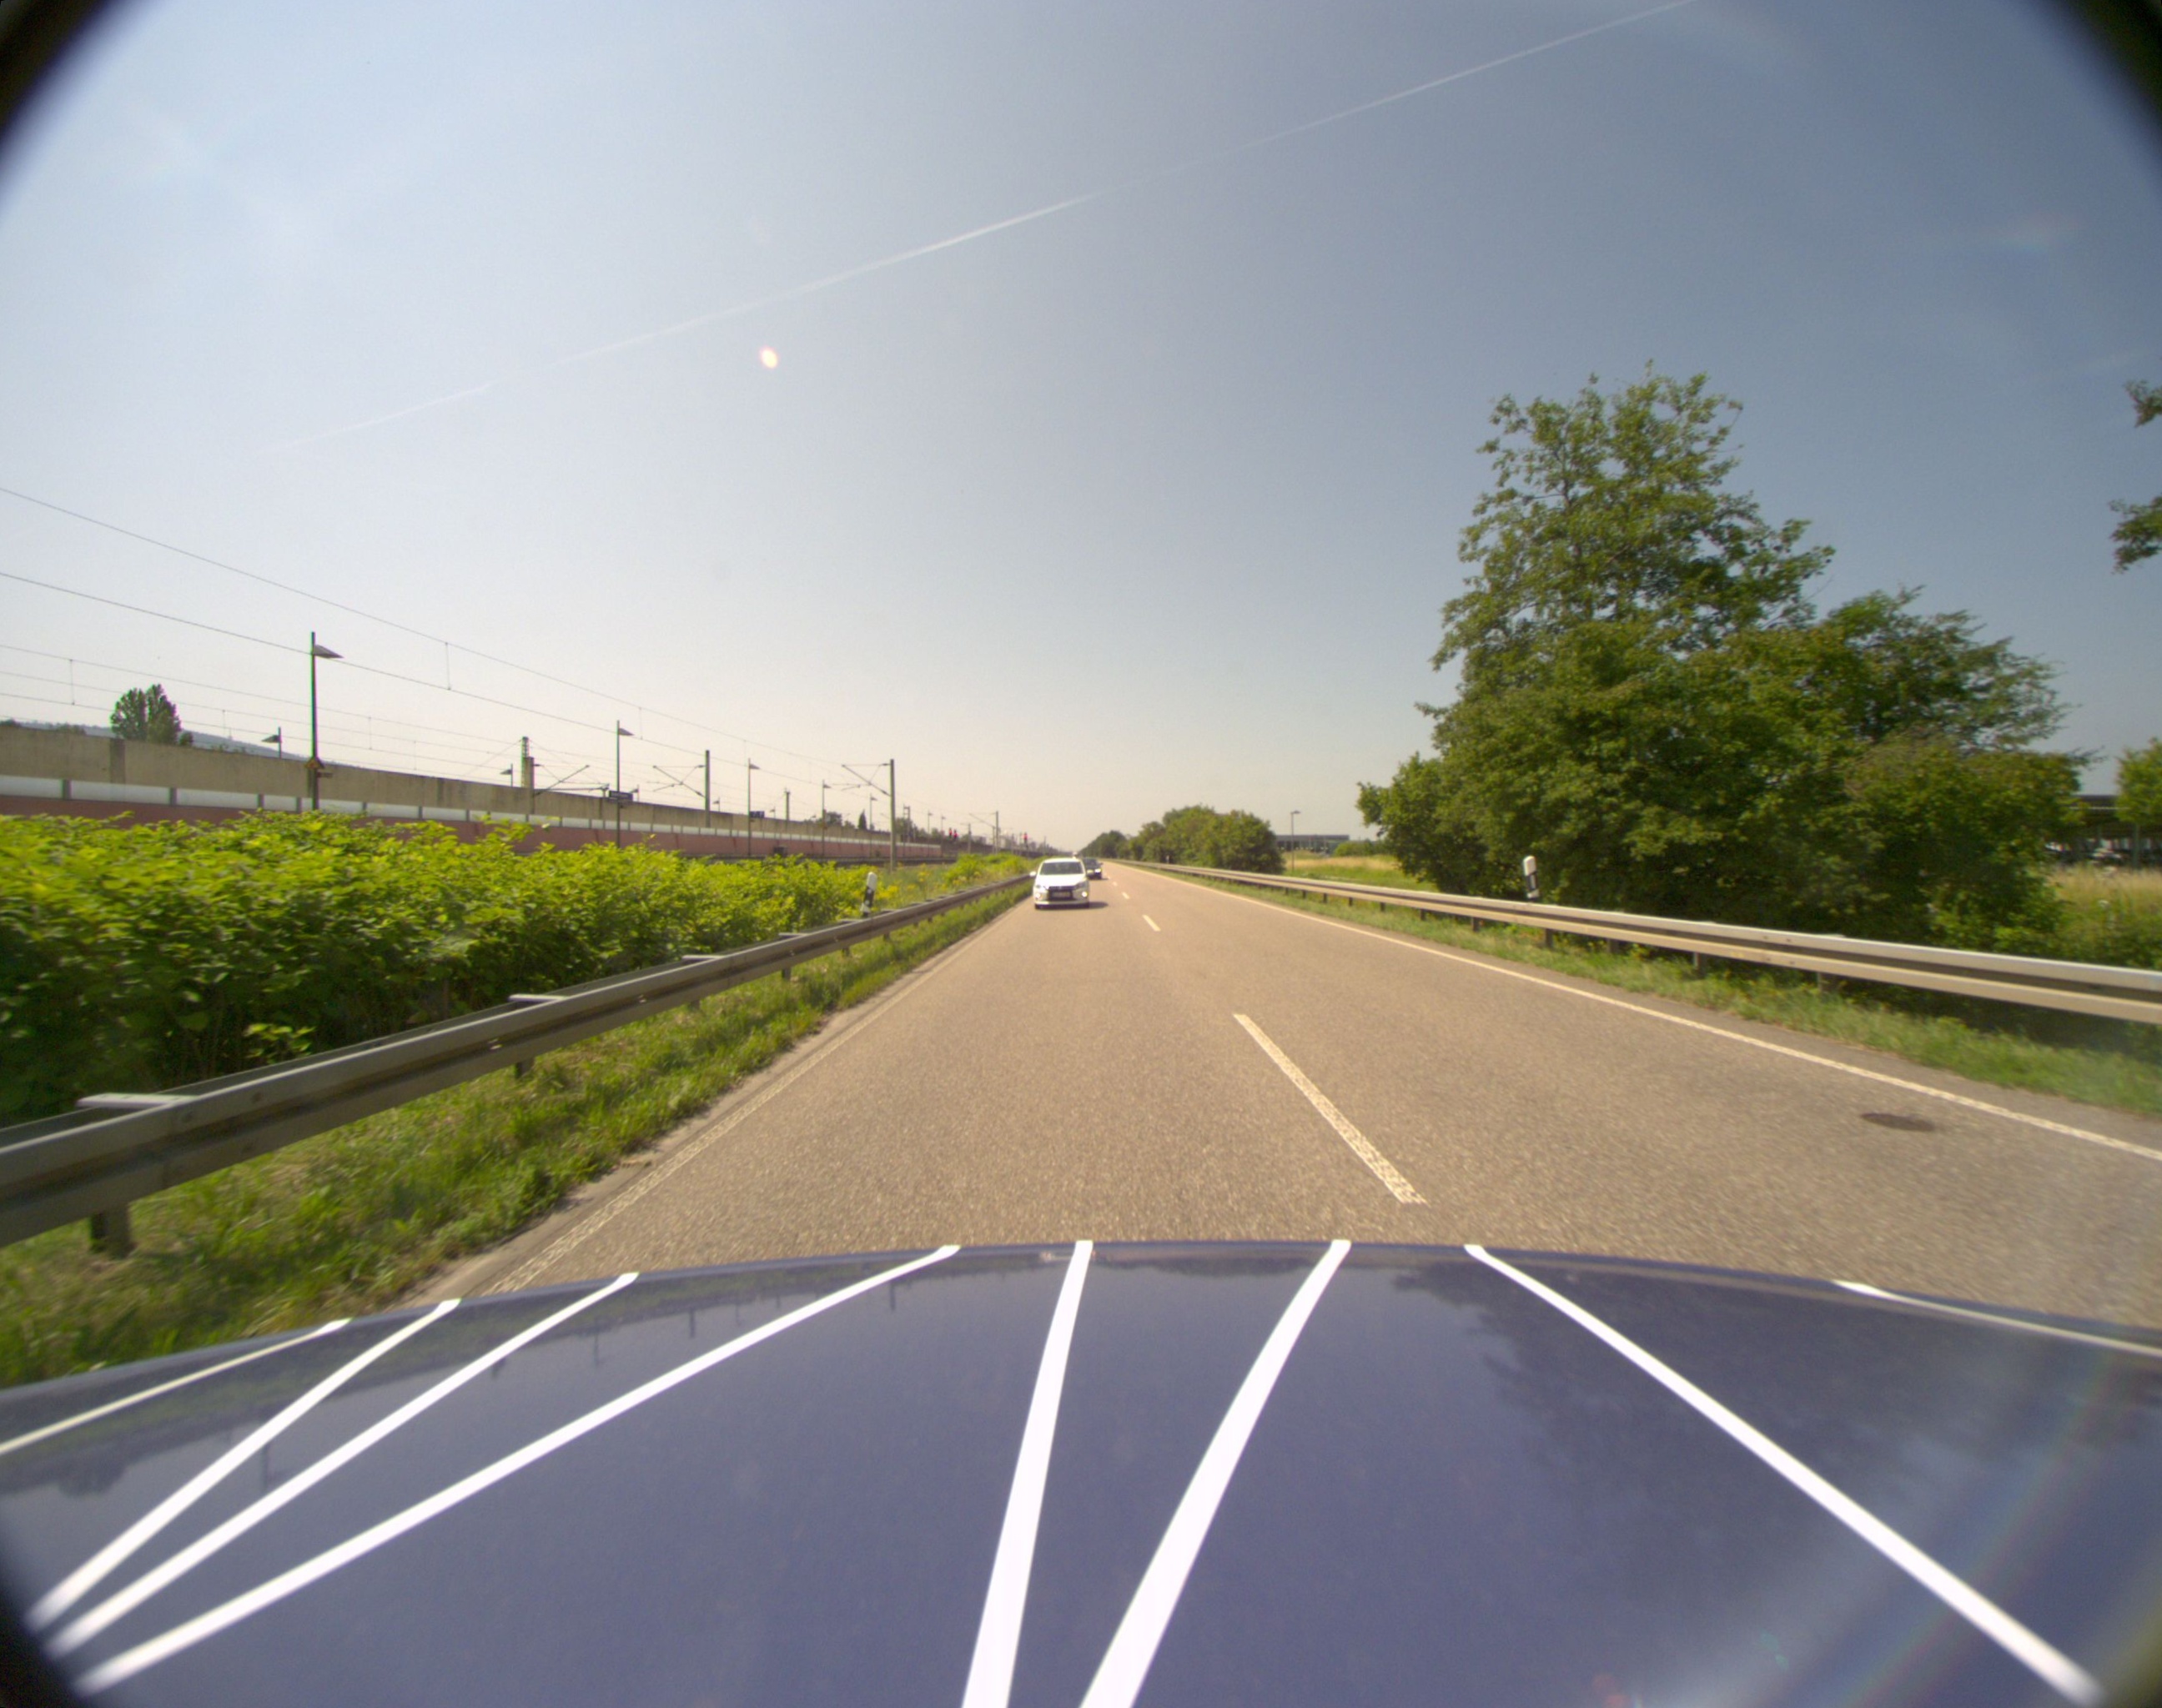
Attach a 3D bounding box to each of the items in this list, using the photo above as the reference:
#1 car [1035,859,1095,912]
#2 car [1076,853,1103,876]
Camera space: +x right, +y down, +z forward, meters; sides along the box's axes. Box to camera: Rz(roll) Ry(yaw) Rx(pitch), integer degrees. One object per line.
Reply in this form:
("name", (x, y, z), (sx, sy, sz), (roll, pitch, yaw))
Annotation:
("car", (-0.512, 0.914, 23.800), (1.701, 1.470, 4.154), (-1, 0, -2))
("car", (0.544, 0.702, 51.870), (1.711, 1.470, 4.154), (-1, 0, -2))
